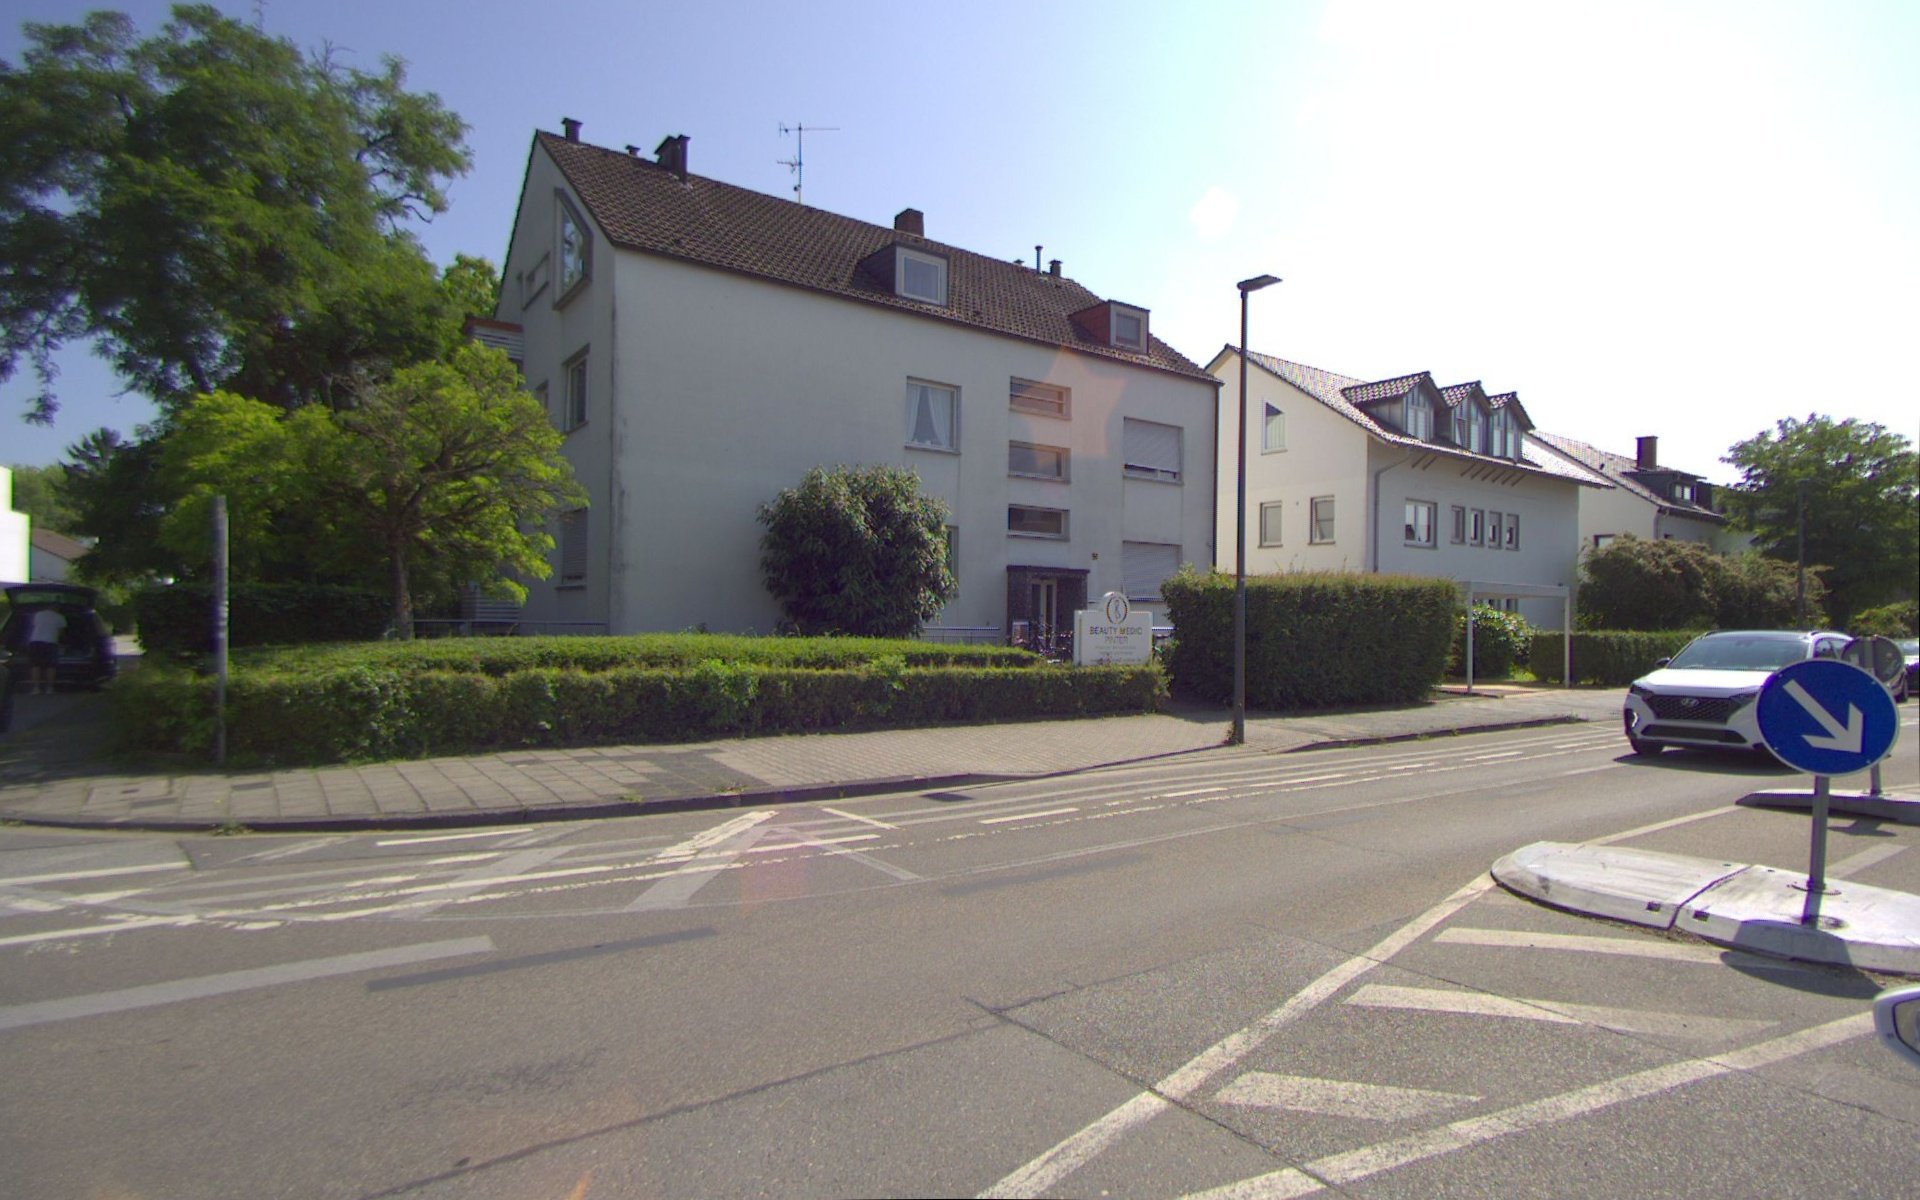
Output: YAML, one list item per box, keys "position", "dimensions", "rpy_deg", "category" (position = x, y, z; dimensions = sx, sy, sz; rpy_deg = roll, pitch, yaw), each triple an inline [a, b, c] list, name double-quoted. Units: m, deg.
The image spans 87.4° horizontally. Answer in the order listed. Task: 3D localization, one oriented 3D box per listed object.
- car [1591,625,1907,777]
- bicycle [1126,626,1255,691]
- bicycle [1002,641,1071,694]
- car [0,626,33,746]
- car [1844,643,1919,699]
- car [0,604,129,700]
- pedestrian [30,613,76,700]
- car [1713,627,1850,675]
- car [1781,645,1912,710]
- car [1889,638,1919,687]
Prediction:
- position: [10.463, 1.223, 13.243]
  dimensions: [4.457, 1.688, 1.904]
  rpy_deg: [2, -3, -33]
  category: "car"
- position: [4.494, 1.118, 19.613]
  dimensions: [2.392, 1.122, 0.537]
  rpy_deg: [0, 4, 24]
  category: "bicycle"
- position: [1.373, 1.195, 17.967]
  dimensions: [1.359, 0.885, 0.330]
  rpy_deg: [2, 3, -42]
  category: "bicycle"
- position: [-12.238, 1.014, 11.603]
  dimensions: [1.709, 1.431, 3.469]
  rpy_deg: [3, -2, -35]
  category: "car"
- position: [26.849, 1.968, 28.445]
  dimensions: [4.069, 1.459, 1.774]
  rpy_deg: [1, -2, -35]
  category: "car"
- position: [-18.073, 0.989, 20.319]
  dimensions: [1.628, 1.768, 3.469]
  rpy_deg: [2, -1, -35]
  category: "car"
- position: [-17.181, 1.060, 19.033]
  dimensions: [0.563, 1.628, 0.396]
  rpy_deg: [2, -1, -35]
  category: "pedestrian"
- position: [33.273, 2.018, 40.771]
  dimensions: [1.980, 1.783, 3.961]
  rpy_deg: [1, -1, -34]
  category: "car"
- position: [22.015, 1.845, 24.896]
  dimensions: [4.119, 1.459, 1.771]
  rpy_deg: [2, -3, -39]
  category: "car"
- position: [30.911, 1.949, 31.561]
  dimensions: [3.960, 1.459, 1.773]
  rpy_deg: [2, -1, -35]
  category: "car"
